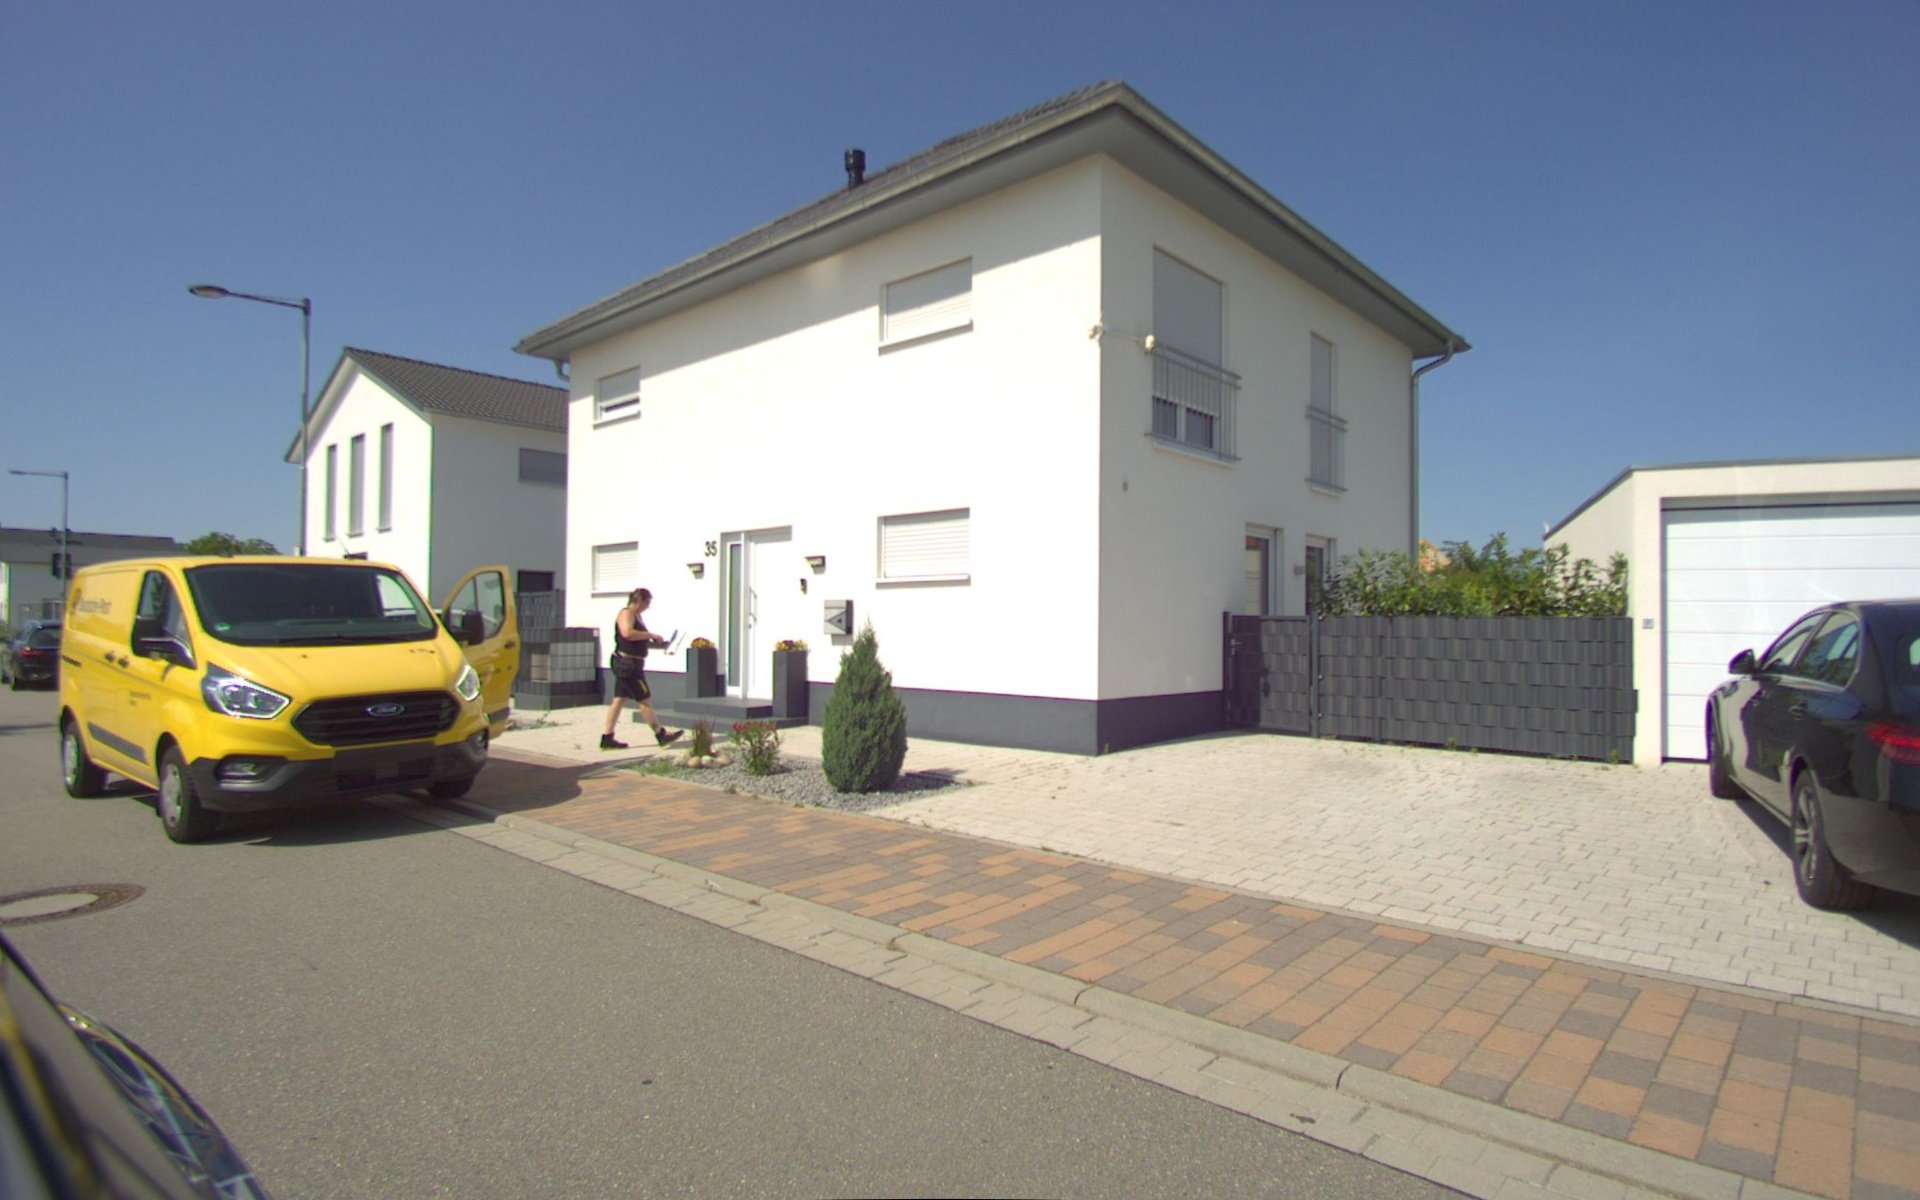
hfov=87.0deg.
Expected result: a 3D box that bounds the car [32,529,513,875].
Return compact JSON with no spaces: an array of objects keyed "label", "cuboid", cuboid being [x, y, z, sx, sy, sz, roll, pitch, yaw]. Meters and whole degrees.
[{"label":"car","cuboid":[-5.739,0.635,8.185,4.835,2.029,1.866,-1,-1,38]}]

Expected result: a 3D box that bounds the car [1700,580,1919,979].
[{"label":"car","cuboid":[5.269,0.660,5.232,1.741,1.463,4.364,-1,-1,29]}]

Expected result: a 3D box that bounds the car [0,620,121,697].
[{"label":"car","cuboid":[-19.861,1.208,22.204,4.444,1.484,1.672,-1,-1,43]}]

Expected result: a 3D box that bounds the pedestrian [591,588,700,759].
[{"label":"pedestrian","cuboid":[-3.297,0.731,10.621,0.918,1.698,0.538,-1,0,-38]}]
